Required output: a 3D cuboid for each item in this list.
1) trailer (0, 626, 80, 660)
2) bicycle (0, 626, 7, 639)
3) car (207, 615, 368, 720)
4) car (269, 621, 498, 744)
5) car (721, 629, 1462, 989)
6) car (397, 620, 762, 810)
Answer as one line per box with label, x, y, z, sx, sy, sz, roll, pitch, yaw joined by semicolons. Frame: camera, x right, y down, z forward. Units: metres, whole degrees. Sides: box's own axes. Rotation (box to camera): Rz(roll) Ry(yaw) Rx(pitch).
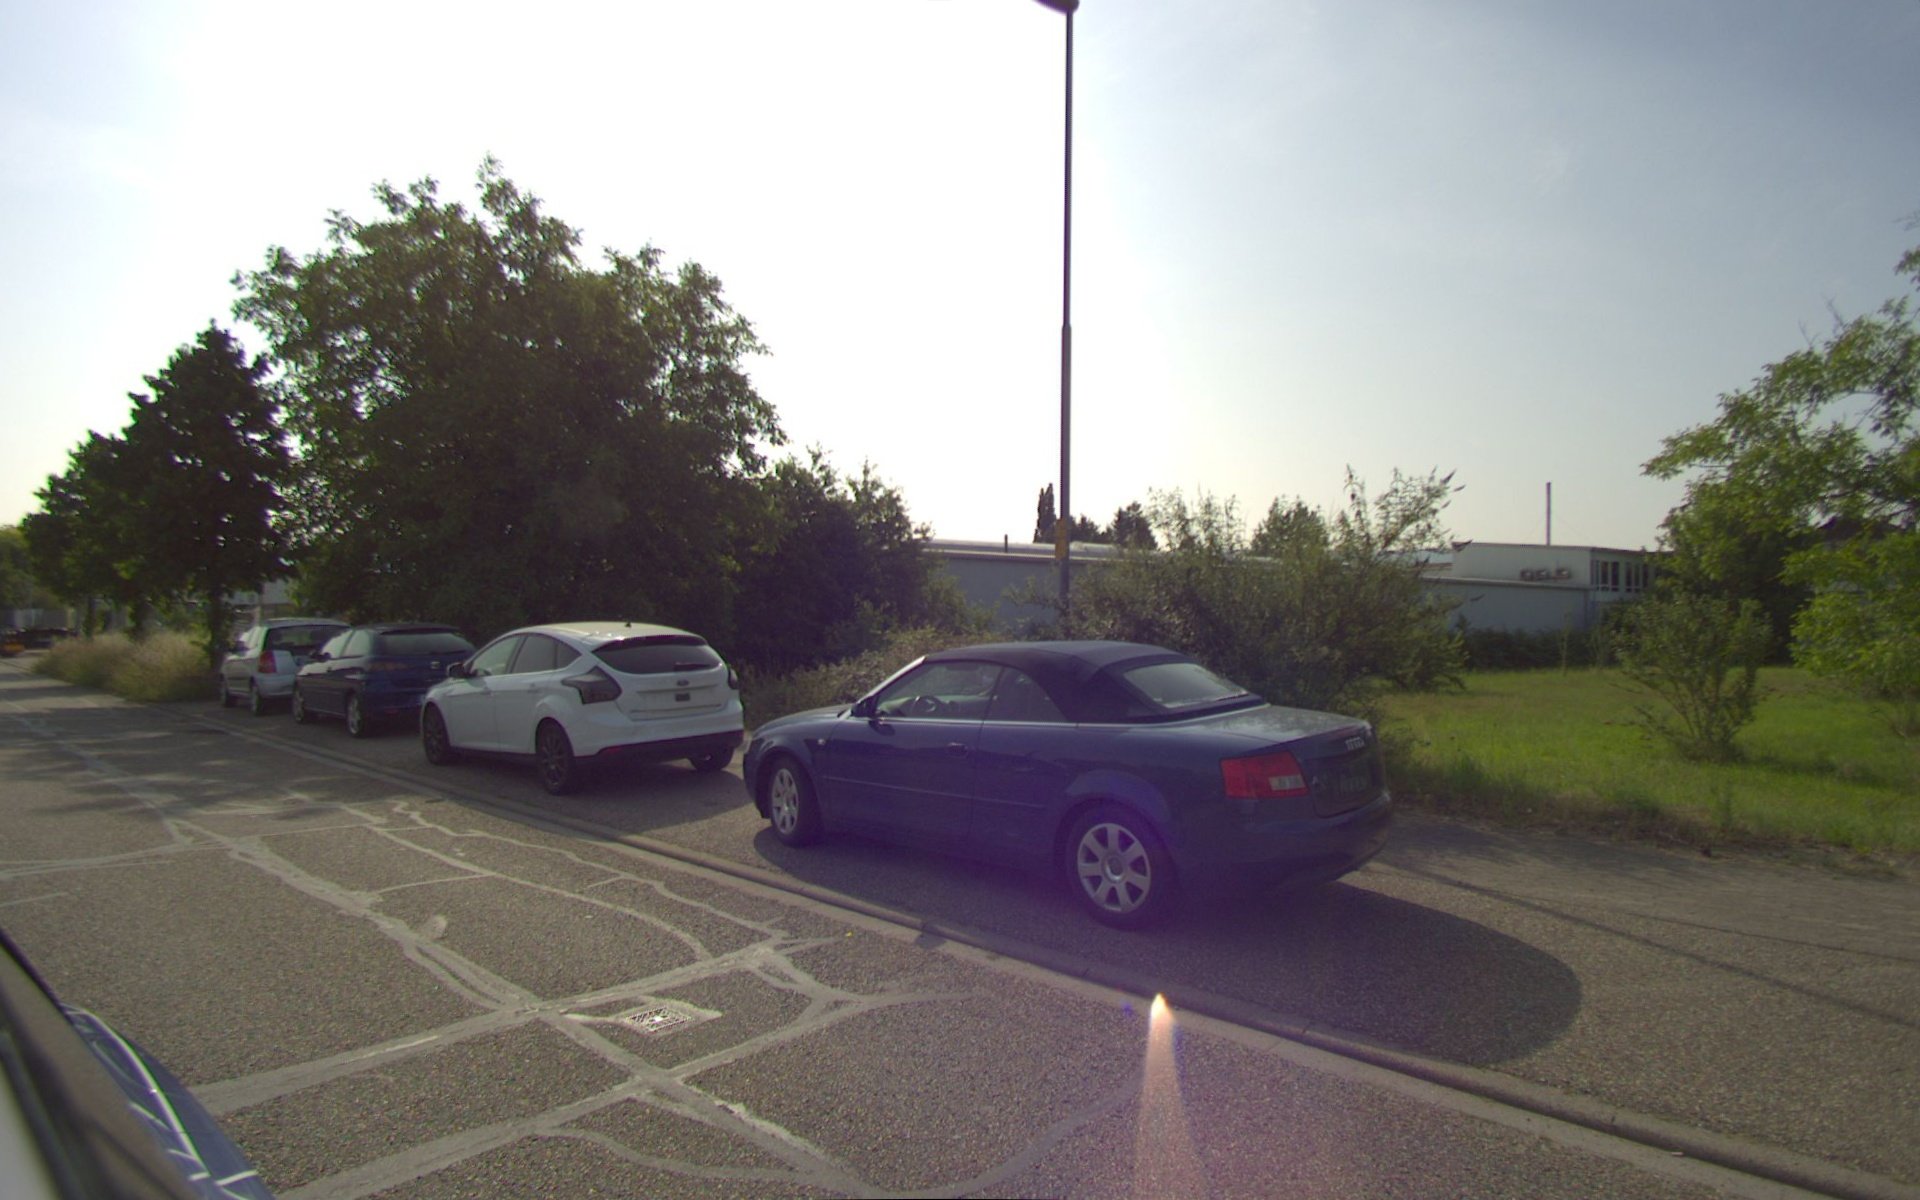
trailer;-39.422;1.742;42.507;9.360;1.193;2.555;-1;-1;42
bicycle;-75.404;2.533;79.462;2.451;0.980;0.556;-1;-3;42
car;-11.376;1.039;17.026;3.689;1.550;1.549;-1;-1;45
car;-8.090;1.029;14.061;3.961;1.454;1.562;-1;-1;41
car;0.489;0.912;6.201;4.368;1.398;1.616;-1;-1;42
car;-3.947;0.956;10.116;4.253;1.480;1.665;-1;-1;42
